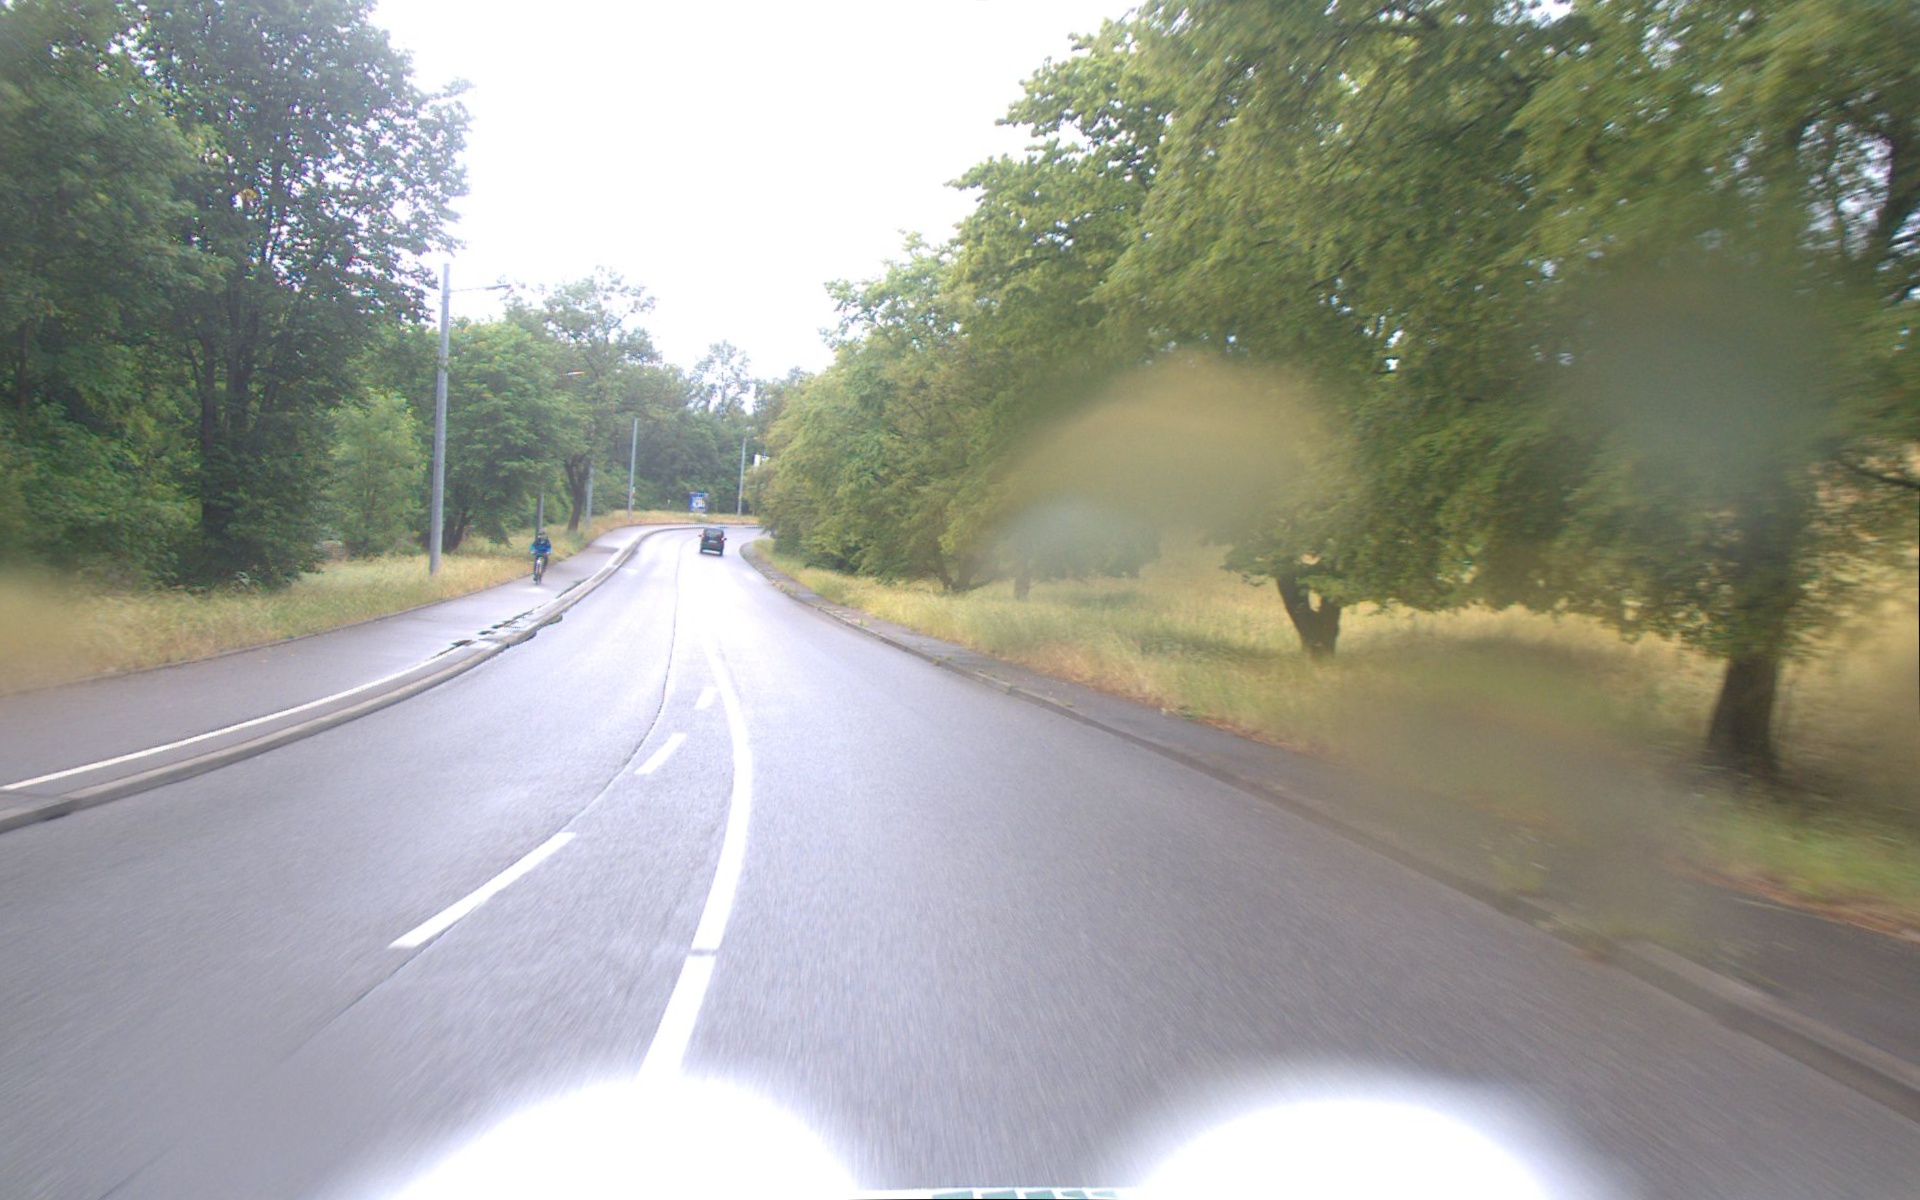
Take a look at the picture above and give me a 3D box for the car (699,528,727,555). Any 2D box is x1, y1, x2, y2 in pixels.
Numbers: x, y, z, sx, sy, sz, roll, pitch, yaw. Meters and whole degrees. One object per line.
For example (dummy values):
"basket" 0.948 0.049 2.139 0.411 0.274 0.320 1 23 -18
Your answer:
"car" -17.228 -4.085 115.376 1.709 1.746 3.994 4 1 -8

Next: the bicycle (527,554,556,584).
"bicycle" -14.715 -1.107 58.181 0.711 0.958 2.545 5 1 -10

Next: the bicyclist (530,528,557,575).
"bicyclist" -14.681 -1.712 58.310 0.696 1.582 1.168 5 1 -10
